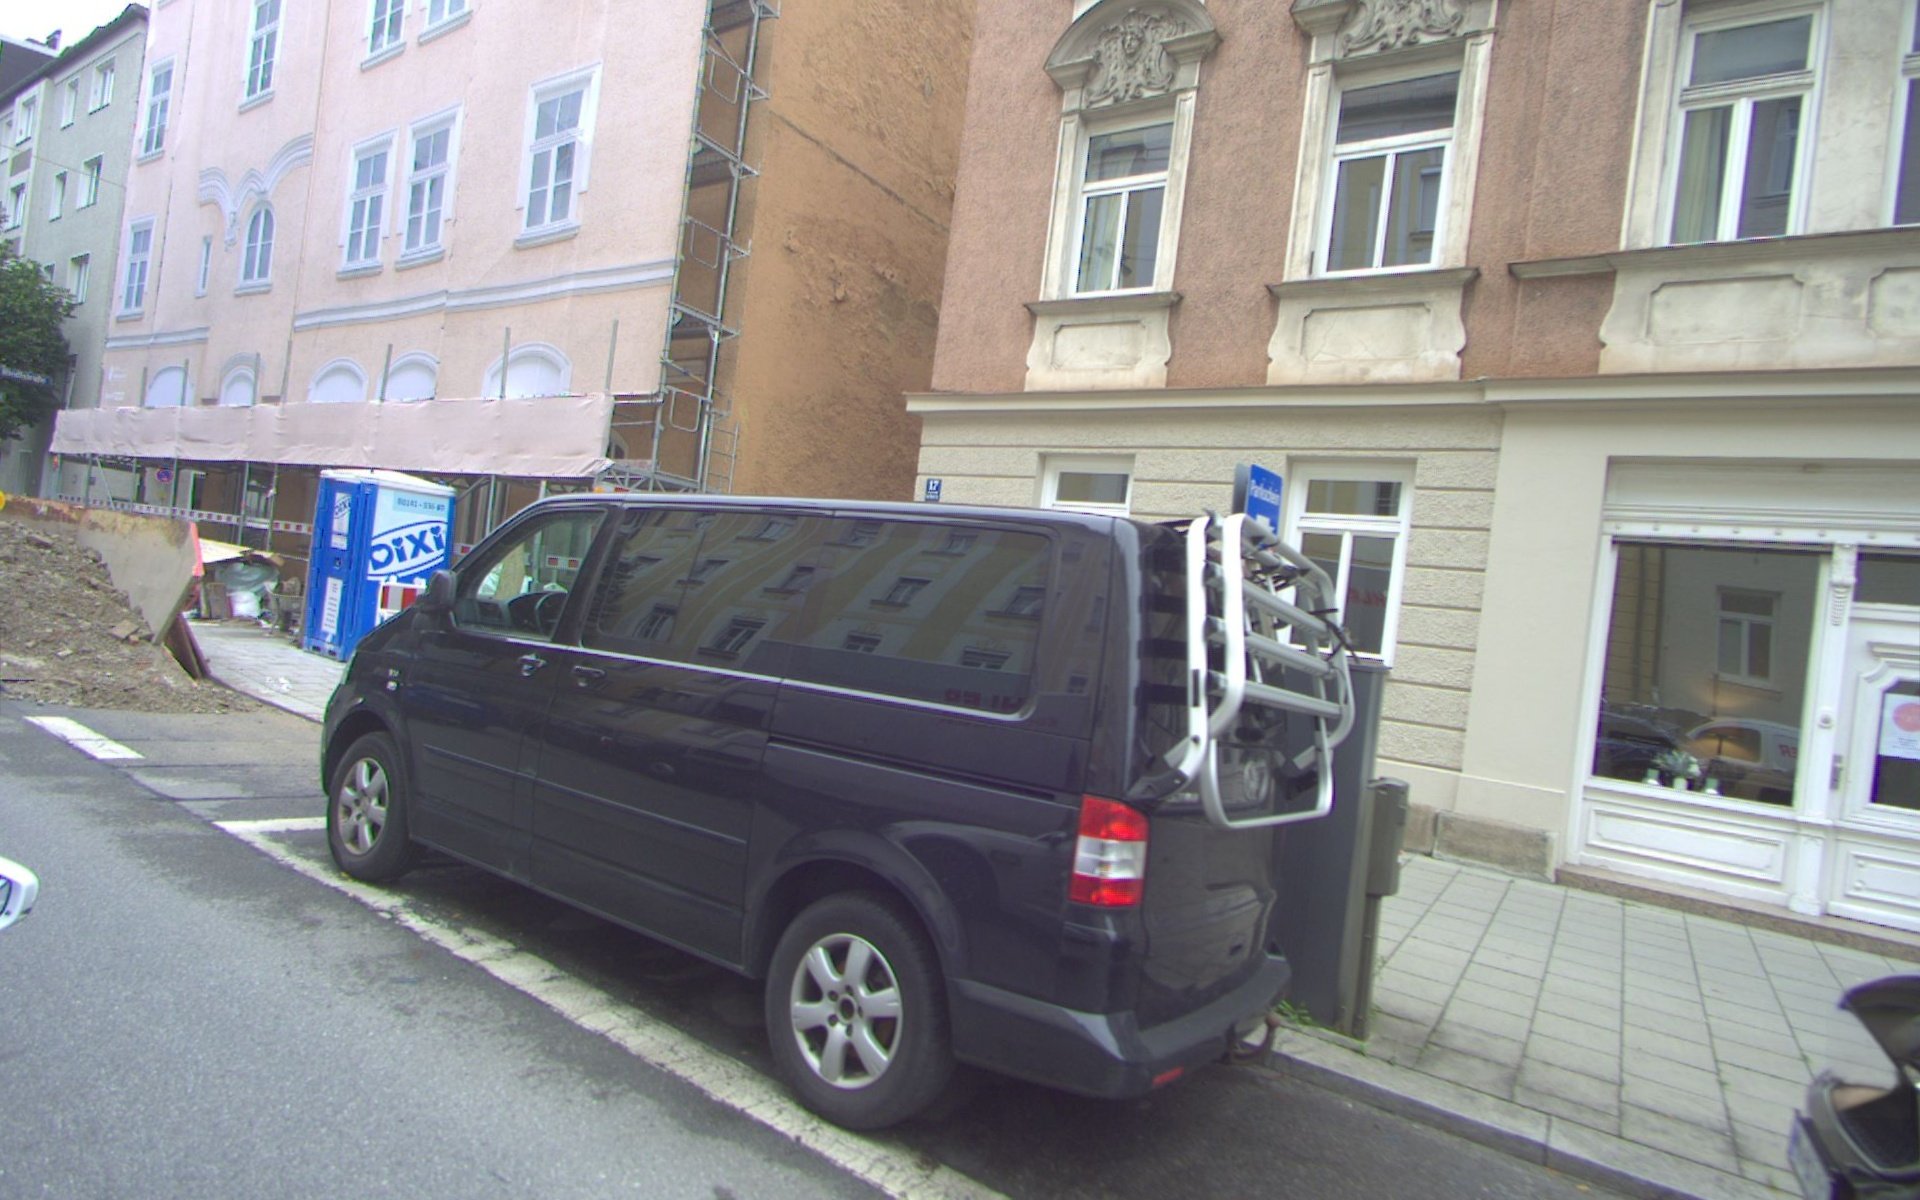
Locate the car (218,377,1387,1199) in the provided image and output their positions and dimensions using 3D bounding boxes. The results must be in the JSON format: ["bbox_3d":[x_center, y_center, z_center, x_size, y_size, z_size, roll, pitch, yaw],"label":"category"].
[{"bbox_3d":[-1.037,0.440,4.575,5.061,1.942,2.085,4,-4,35],"label":"car"}]

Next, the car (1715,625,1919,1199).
[{"bbox_3d":[3.684,1.196,1.122,4.338,1.694,1.697,6,-4,35],"label":"car"}]

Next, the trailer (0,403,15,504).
[{"bbox_3d":[-18.820,-2.132,16.949,6.790,2.872,2.506,6,-2,34],"label":"trailer"}]
